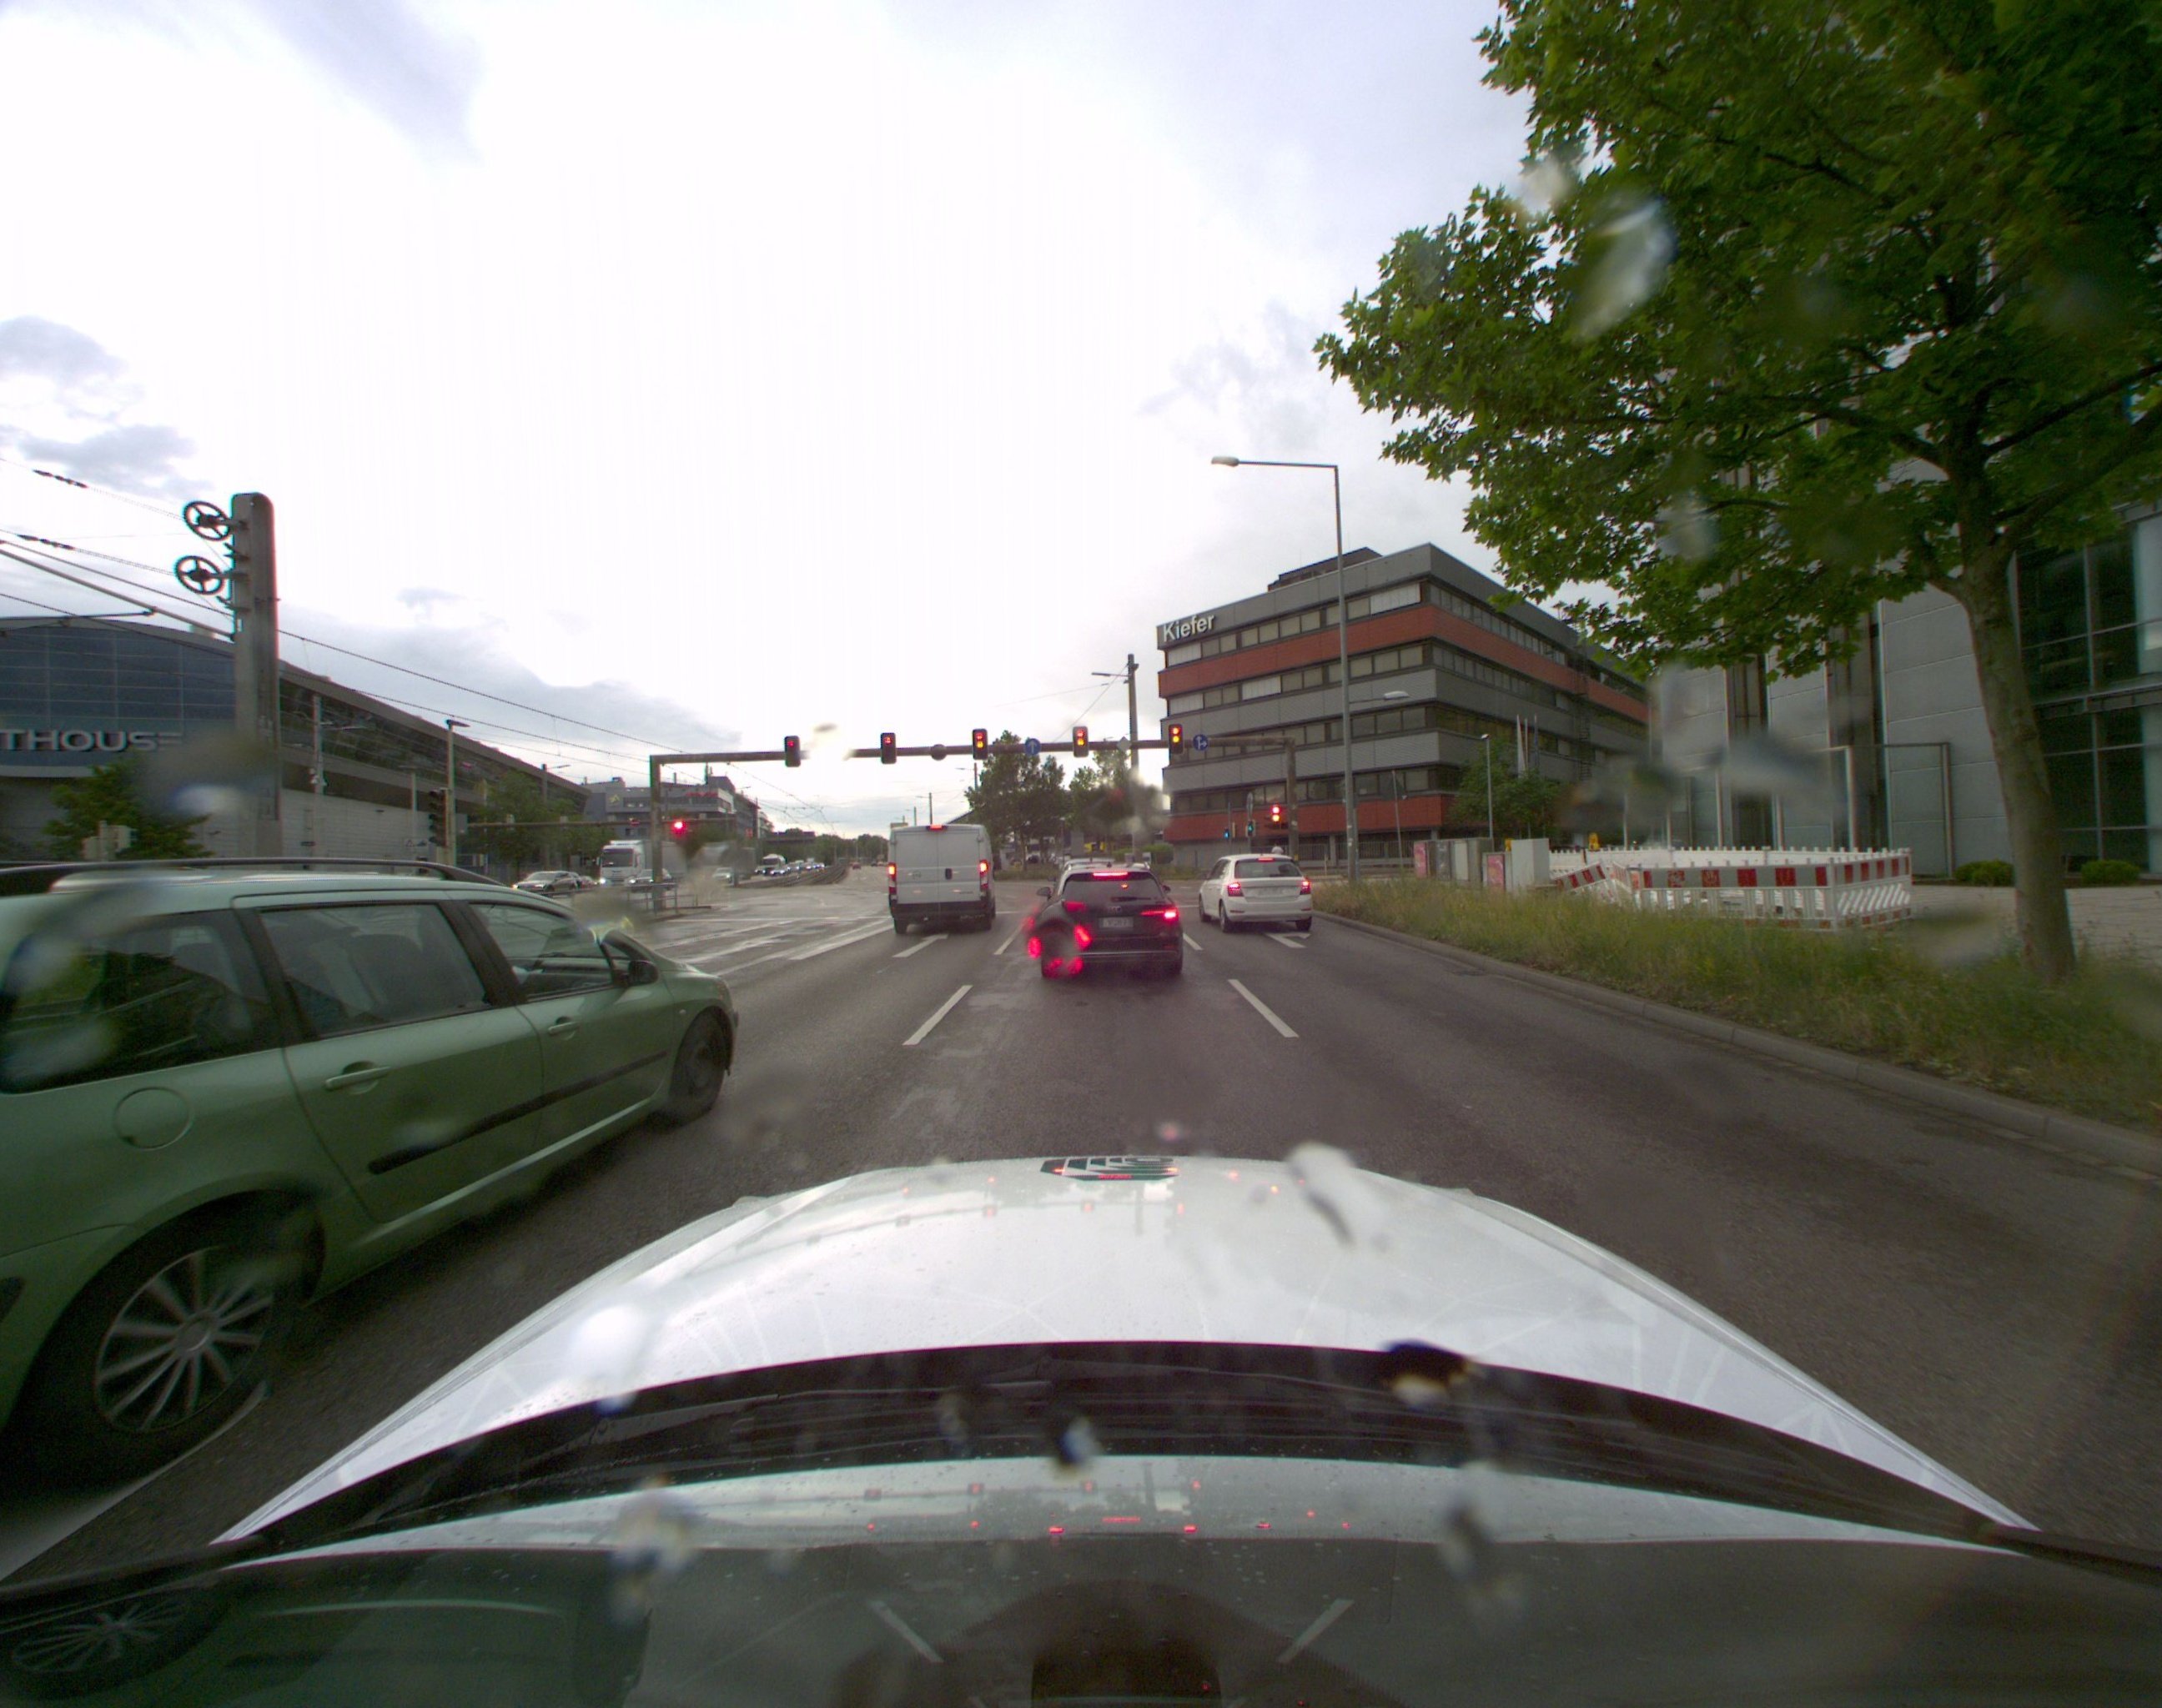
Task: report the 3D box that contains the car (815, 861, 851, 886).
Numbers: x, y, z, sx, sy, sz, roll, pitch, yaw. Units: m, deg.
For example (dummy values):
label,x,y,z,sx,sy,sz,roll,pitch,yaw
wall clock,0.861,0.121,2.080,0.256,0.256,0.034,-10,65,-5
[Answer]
label,x,y,z,sx,sy,sz,roll,pitch,yaw
car,-20.756,1.624,68.406,1.768,2.014,4.344,0,0,-2

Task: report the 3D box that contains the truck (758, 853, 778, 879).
label,x,y,z,sx,sy,sz,roll,pitch,yaw
truck,-49.851,1.954,129.762,2.756,3.805,5.373,-3,-1,-21

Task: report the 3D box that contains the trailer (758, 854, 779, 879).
label,x,y,z,sx,sy,sz,roll,pitch,yaw
trailer,-51.793,2.138,135.273,2.734,3.854,11.153,-3,-1,-20

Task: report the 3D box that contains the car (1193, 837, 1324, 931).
label,x,y,z,sx,sy,sz,roll,pitch,yaw
car,3.469,0.588,16.620,1.823,1.656,4.000,-1,-1,1

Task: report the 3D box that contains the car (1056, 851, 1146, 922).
label,x,y,z,sx,sy,sz,roll,pitch,yaw
car,0.525,0.726,19.371,1.886,1.465,3.912,-2,-1,3

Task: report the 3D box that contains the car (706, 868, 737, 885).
label,x,y,z,sx,sy,sz,roll,pitch,yaw
car,-36.520,2.256,82.847,1.887,1.652,4.081,1,-1,-10

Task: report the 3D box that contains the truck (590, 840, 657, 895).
label,x,y,z,sx,sy,sz,roll,pitch,yaw
truck,-35.755,1.002,63.881,2.835,3.996,5.960,-2,0,-13

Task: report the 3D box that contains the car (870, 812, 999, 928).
label,x,y,z,sx,sy,sz,roll,pitch,yaw
car,-3.155,0.380,18.737,2.441,2.294,4.895,0,-1,-5

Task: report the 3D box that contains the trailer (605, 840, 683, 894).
label,x,y,z,sx,sy,sz,roll,pitch,yaw
trailer,-36.998,1.029,69.431,2.798,4.107,11.390,-2,0,-13

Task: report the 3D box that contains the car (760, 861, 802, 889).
label,x,y,z,sx,sy,sz,roll,pitch,yaw
car,-23.237,1.583,63.230,1.768,2.013,4.344,0,0,-2

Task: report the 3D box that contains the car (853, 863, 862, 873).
label,x,y,z,sx,sy,sz,roll,pitch,yaw
car,-50.441,3.168,184.041,1.775,2.014,4.327,1,-1,-13

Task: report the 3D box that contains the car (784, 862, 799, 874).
label,x,y,z,sx,sy,sz,roll,pitch,yaw
car,-47.848,2.323,134.637,1.999,1.837,4.880,-2,1,-17

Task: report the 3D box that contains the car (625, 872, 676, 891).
label,x,y,z,sx,sy,sz,roll,pitch,yaw
car,-30.865,1.942,58.471,1.908,1.264,4.399,1,-1,-9

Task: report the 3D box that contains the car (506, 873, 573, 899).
label,x,y,z,sx,sy,sz,roll,pitch,yaw
car,-32.181,1.880,48.529,1.738,1.462,4.139,1,-1,-9

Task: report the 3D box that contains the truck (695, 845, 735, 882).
label,x,y,z,sx,sy,sz,roll,pitch,yaw
truck,-42.971,1.184,95.802,2.665,4.130,6.166,-2,-1,-9

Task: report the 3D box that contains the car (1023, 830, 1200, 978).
label,x,y,z,sx,sy,sz,roll,pitch,yaw
car,0.403,0.618,11.323,1.986,1.637,4.001,-2,-1,1

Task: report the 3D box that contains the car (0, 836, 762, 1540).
label,x,y,z,sx,sy,sz,roll,pitch,yaw
car,-3.074,0.727,3.385,1.689,1.468,4.403,0,-1,1

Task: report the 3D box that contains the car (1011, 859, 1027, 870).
label,x,y,z,sx,sy,sz,roll,pitch,yaw
car,-10.348,1.766,136.481,1.795,1.591,3.977,-2,0,-17

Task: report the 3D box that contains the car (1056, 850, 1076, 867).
label,x,y,z,sx,sy,sz,roll,pitch,yaw
car,-2.007,0.620,104.836,1.993,2.032,3.987,-3,0,-9

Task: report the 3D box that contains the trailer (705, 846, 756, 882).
label,x,y,z,sx,sy,sz,roll,pitch,yaw
trailer,-44.023,1.328,102.804,2.649,4.125,12.705,-2,-1,-9

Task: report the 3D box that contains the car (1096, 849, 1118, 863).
label,x,y,z,sx,sy,sz,roll,pitch,yaw
car,3.748,0.302,116.981,1.876,2.014,3.749,1,-1,-19

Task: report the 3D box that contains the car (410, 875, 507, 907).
label,x,y,z,sx,sy,sz,roll,pitch,yaw
car,-31.210,1.823,41.011,1.781,1.503,3.998,0,-1,-1

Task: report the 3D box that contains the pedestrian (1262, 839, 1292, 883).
label,x,y,z,sx,sy,sz,roll,pitch,yaw
pedestrian,9.773,0.341,40.670,1.139,2.125,1.223,-3,1,1

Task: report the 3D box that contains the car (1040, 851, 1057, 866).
label,x,y,z,sx,sy,sz,roll,pitch,yaw
car,-4.570,0.596,113.639,1.682,2.014,3.524,1,-1,-14

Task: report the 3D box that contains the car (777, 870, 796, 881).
label,x,y,z,sx,sy,sz,roll,pitch,yaw
car,-42.225,3.070,116.765,1.904,1.555,4.549,1,-1,-11

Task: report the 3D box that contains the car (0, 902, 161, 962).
label,x,y,z,sx,sy,sz,roll,pitch,yaw
car,-30.436,2.238,23.725,1.672,1.498,4.929,0,-1,-1

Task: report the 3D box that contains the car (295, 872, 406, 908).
label,x,y,z,sx,sy,sz,roll,pitch,yaw
car,-34.764,1.664,38.899,1.567,1.627,4.081,0,-1,0
